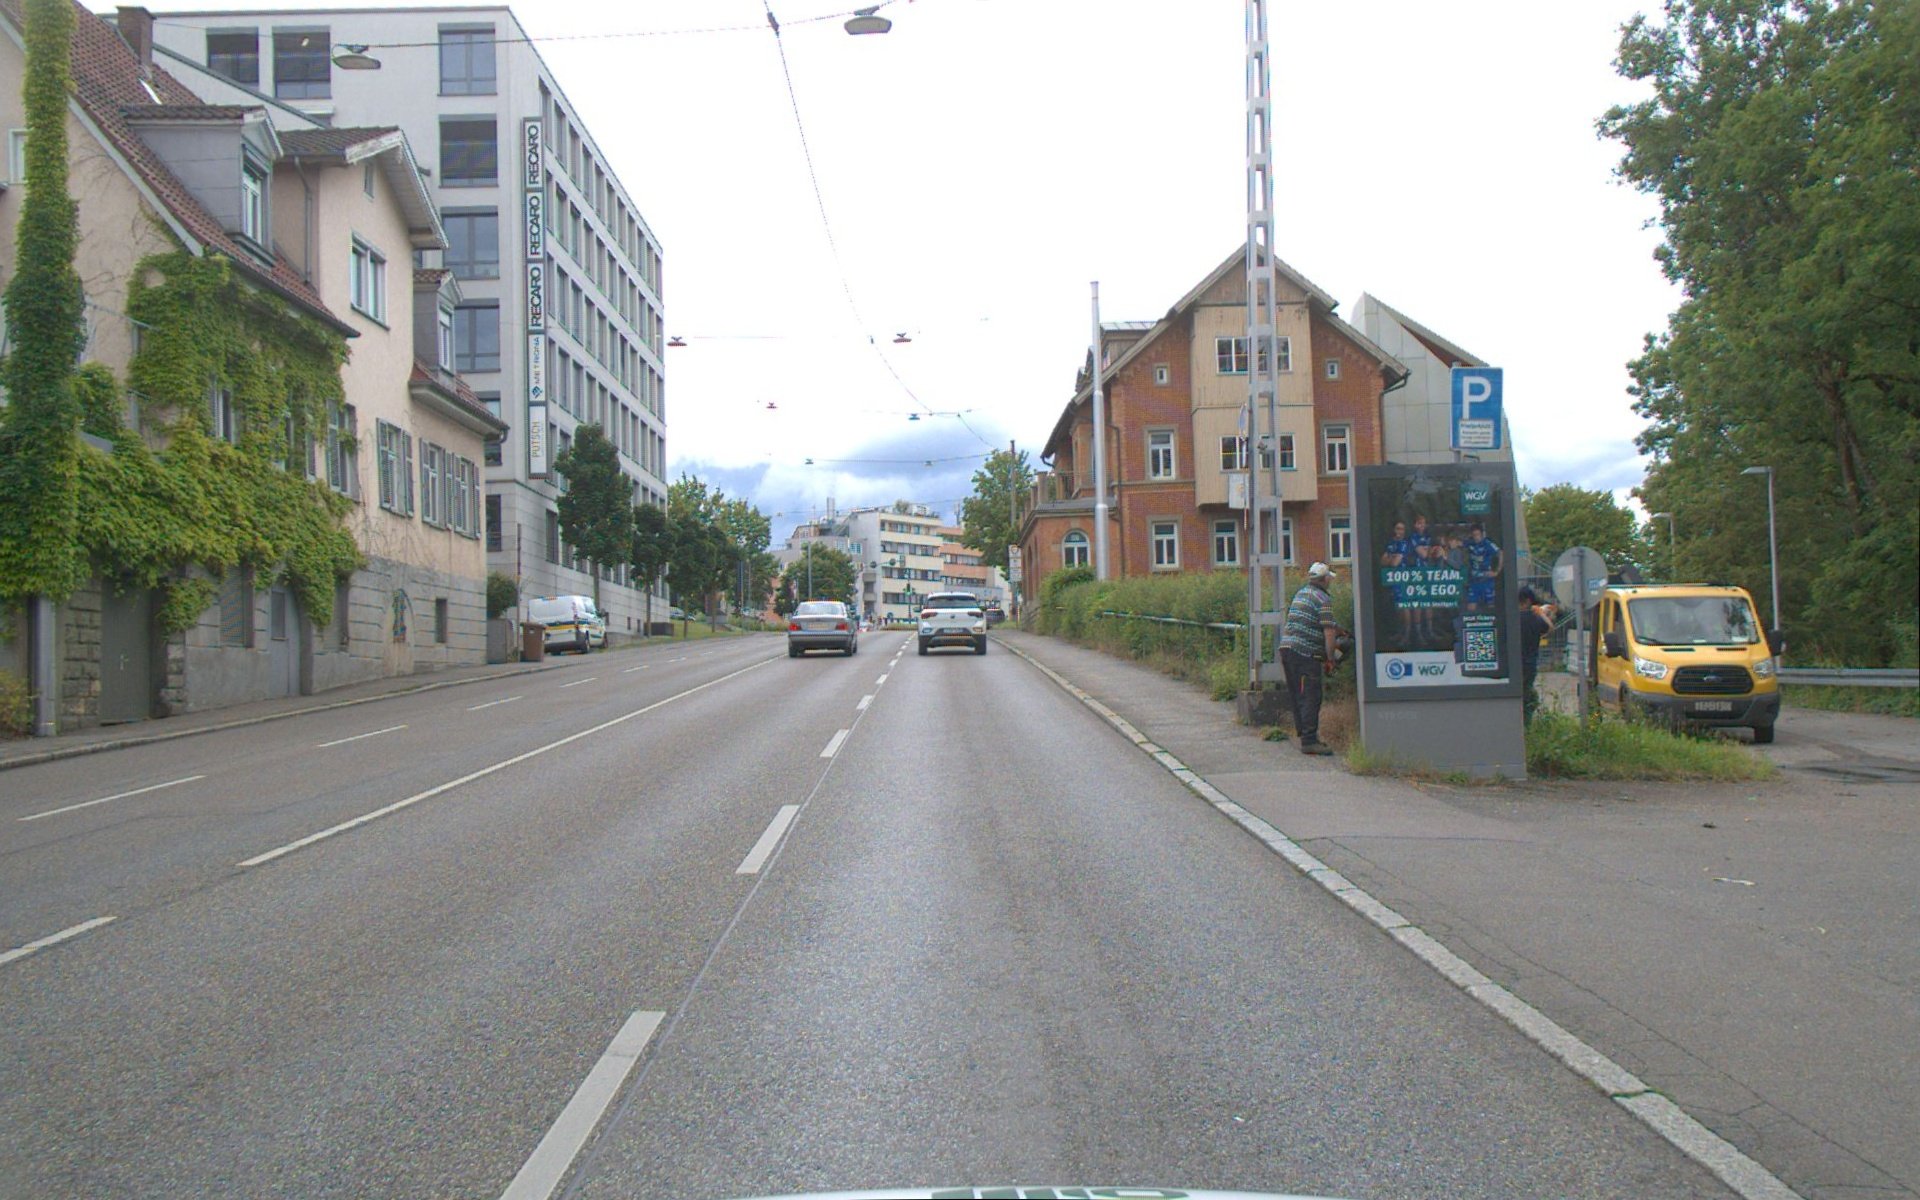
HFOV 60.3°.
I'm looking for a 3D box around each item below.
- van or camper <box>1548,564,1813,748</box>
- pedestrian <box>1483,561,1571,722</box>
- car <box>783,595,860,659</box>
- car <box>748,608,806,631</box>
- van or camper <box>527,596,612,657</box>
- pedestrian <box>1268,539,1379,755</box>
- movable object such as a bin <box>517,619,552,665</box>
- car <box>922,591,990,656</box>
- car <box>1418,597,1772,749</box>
[{"bbox_3d":[10.712,0.723,25.174,2.169,2.370,6.185,-3,0,10],"label":"van or camper"},{"bbox_3d":[5.835,0.416,17.040,0.632,1.599,0.585,-3,0,-1],"label":"pedestrian"},{"bbox_3d":[-3.514,0.657,42.533,1.665,1.542,3.735,-2,0,-1],"label":"car"},{"bbox_3d":[-13.182,1.396,119.283,1.751,1.571,3.974,-2,-2,43],"label":"car"},{"bbox_3d":[-13.645,0.898,58.074,2.019,2.002,4.869,-2,0,-3],"label":"van or camper"},{"bbox_3d":[3.383,0.424,15.477,0.795,1.917,0.949,-3,0,3],"label":"pedestrian"},{"bbox_3d":[-11.566,1.129,44.973,0.794,1.210,0.697,2,-1,-7],"label":"movable object such as a bin"},{"bbox_3d":[-0.130,0.580,43.094,1.665,1.575,3.735,1,0,-1],"label":"car"},{"bbox_3d":[7.151,0.797,18.846,3.415,1.568,1.577,1,0,0],"label":"car"}]
